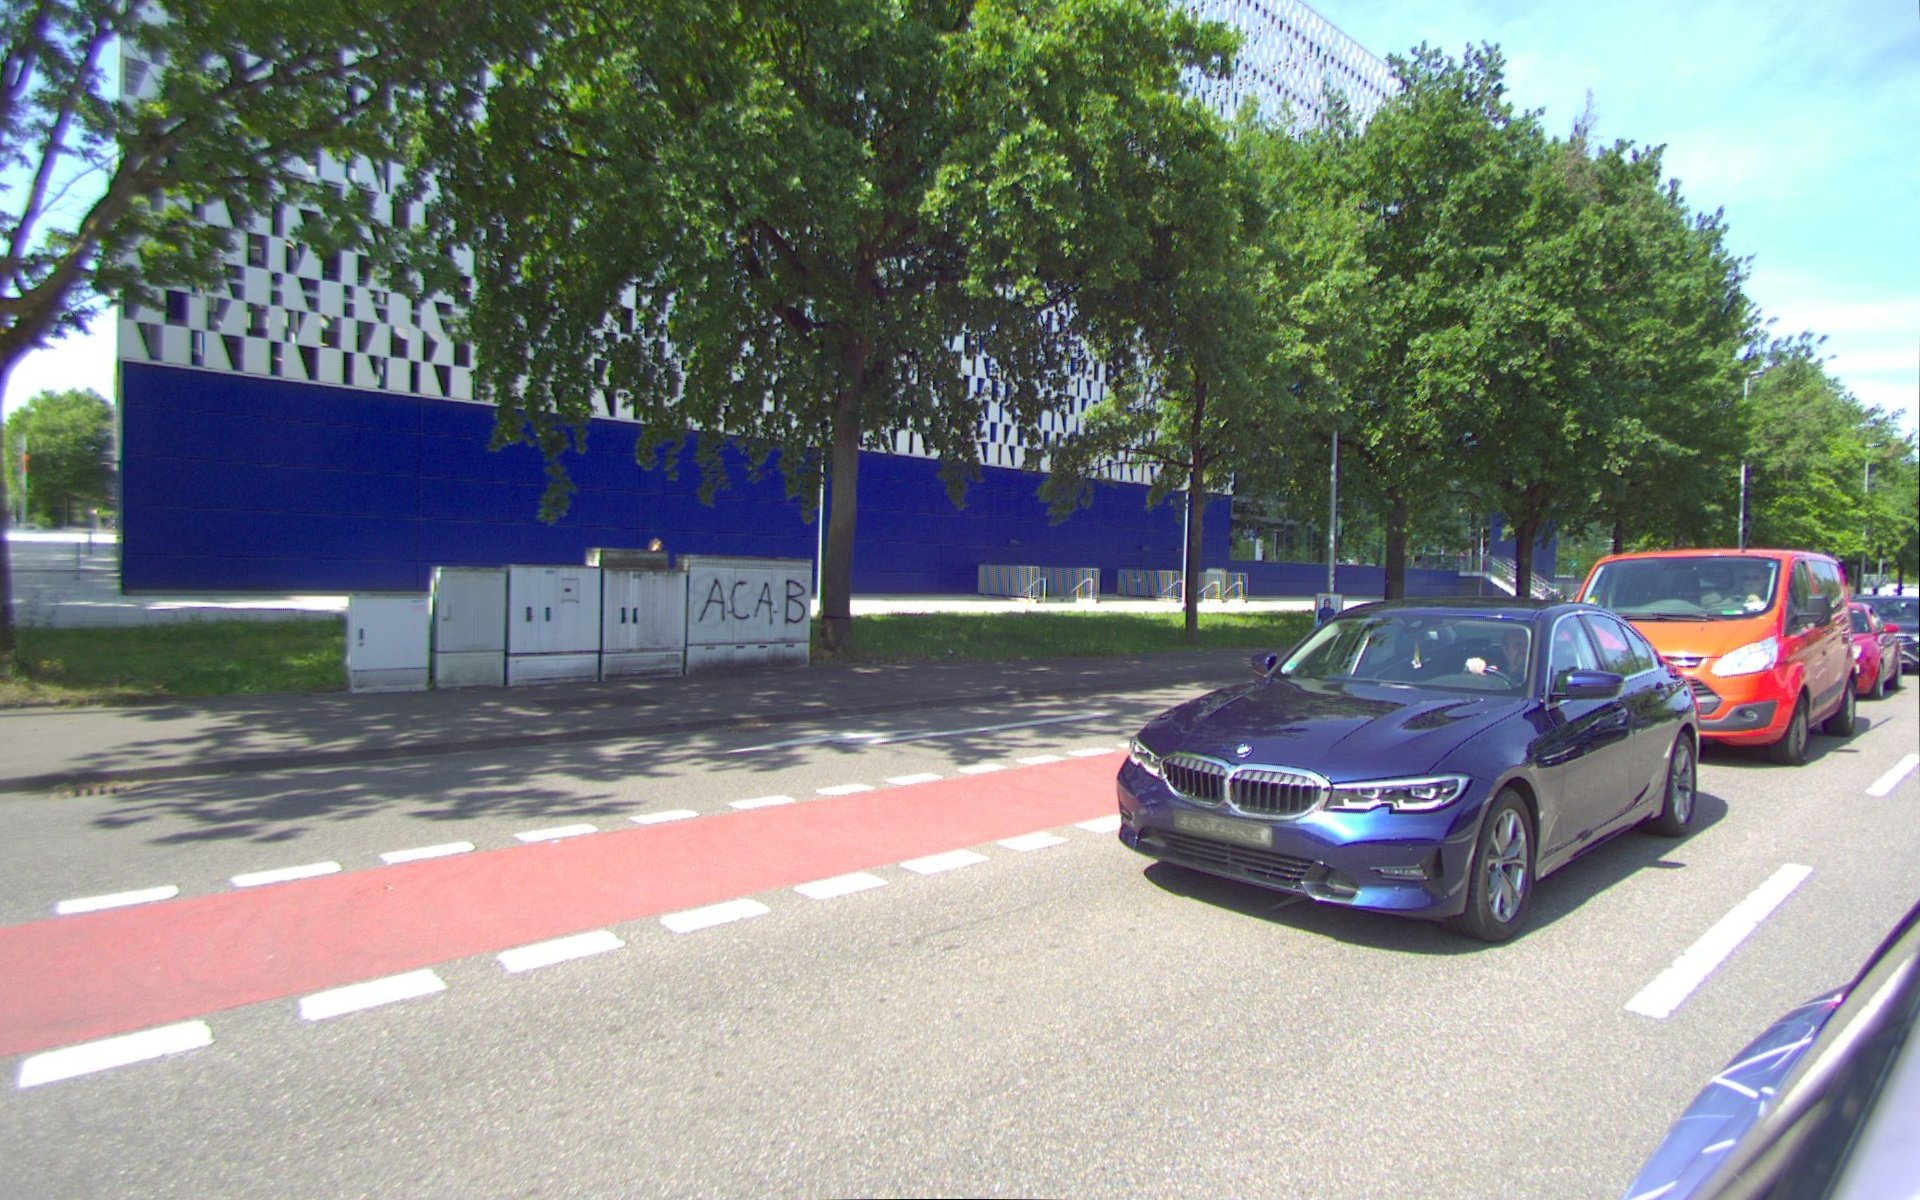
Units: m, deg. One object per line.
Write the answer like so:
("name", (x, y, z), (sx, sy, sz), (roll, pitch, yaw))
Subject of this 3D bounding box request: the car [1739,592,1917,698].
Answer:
("car", (13.722, 0.611, 15.935), (3.849, 1.440, 1.690), (0, 1, -43))

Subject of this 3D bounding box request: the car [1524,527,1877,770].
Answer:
("car", (7.756, 0.369, 10.402), (4.727, 1.931, 2.012), (0, 0, -42))

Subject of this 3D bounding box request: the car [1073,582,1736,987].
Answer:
("car", (2.813, 0.643, 5.803), (4.460, 1.447, 1.798), (0, 1, -42))

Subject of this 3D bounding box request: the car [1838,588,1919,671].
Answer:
("car", (19.342, 0.554, 20.701), (3.932, 1.559, 1.647), (0, -1, -43))

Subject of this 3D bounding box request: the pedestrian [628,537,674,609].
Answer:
("pedestrian", (-6.882, -0.598, 22.534), (0.767, 1.565, 0.680), (0, 2, -41))
